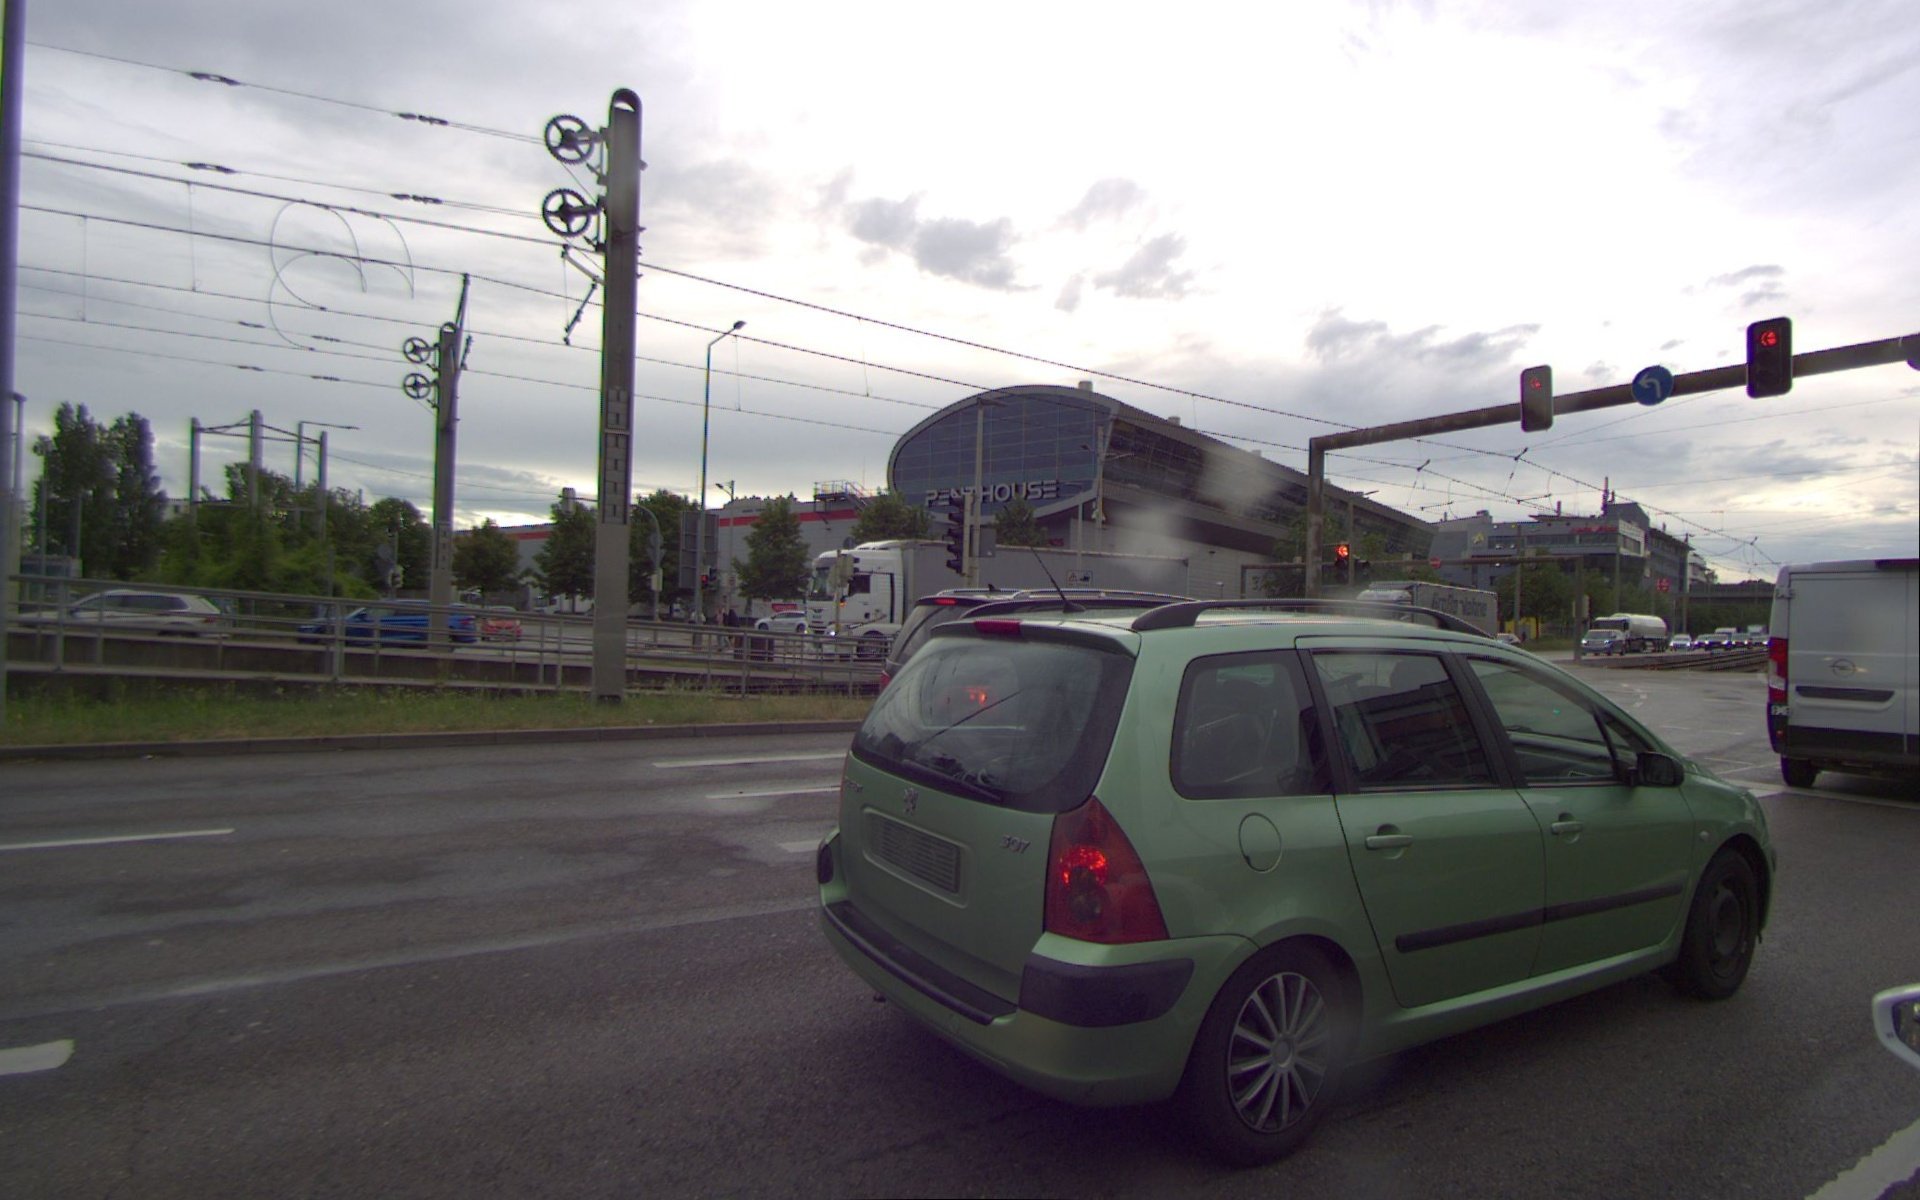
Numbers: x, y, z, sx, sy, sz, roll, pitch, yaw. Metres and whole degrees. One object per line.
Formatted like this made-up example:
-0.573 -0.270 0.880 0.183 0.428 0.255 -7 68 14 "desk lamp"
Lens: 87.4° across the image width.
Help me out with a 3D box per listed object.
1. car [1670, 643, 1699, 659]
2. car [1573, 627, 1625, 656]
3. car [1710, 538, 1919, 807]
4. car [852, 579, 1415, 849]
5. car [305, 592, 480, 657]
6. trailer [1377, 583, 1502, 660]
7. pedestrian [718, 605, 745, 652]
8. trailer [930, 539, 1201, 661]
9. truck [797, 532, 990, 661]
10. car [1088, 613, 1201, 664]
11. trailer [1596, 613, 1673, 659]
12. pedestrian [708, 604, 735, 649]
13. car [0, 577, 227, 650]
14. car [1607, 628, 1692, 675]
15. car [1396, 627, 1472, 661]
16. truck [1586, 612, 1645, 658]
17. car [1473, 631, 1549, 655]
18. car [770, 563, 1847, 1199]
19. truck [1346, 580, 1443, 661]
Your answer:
73.917 5.191 102.468 2.133 1.525 4.282 0 -2 40 "car"
47.253 3.013 74.216 4.872 1.862 1.975 1 3 -43 "car"
10.004 0.732 10.464 4.865 2.324 2.425 3 -1 -40 "car"
1.429 0.767 7.863 4.142 1.613 1.719 3 1 -29 "car"
-16.696 0.726 29.611 4.277 1.650 1.980 3 0 -35 "car"
29.137 1.472 60.555 12.663 4.179 2.623 4 -2 -45 "trailer"
-8.640 1.081 38.017 0.731 1.728 0.721 3 0 -33 "pedestrian"
4.344 0.169 38.745 11.328 4.162 2.776 2 -1 -35 "trailer"
-2.221 -0.010 34.257 5.923 4.049 2.815 2 -1 -33 "truck"
6.760 1.422 36.602 4.065 1.674 1.870 3 0 -41 "car"
60.994 3.317 90.691 11.136 3.905 2.703 3 -3 -39 "trailer"
-9.186 1.024 38.643 0.731 1.685 0.721 3 0 -33 "pedestrian"
-20.187 0.345 24.016 4.108 1.481 1.729 3 0 -33 "car"
32.638 2.419 47.497 4.301 2.040 1.762 2 1 -34 "car"
24.254 2.262 51.290 4.533 1.576 1.885 3 1 -42 "car"
57.102 3.060 87.477 5.365 3.855 2.725 3 -3 -38 "truck"
40.244 3.139 73.426 1.973 1.630 4.617 2 -1 -25 "car"
1.627 0.751 4.060 4.354 1.488 1.685 3 0 -32 "car"
24.123 1.194 55.628 6.143 4.184 2.641 4 -2 -43 "truck"
